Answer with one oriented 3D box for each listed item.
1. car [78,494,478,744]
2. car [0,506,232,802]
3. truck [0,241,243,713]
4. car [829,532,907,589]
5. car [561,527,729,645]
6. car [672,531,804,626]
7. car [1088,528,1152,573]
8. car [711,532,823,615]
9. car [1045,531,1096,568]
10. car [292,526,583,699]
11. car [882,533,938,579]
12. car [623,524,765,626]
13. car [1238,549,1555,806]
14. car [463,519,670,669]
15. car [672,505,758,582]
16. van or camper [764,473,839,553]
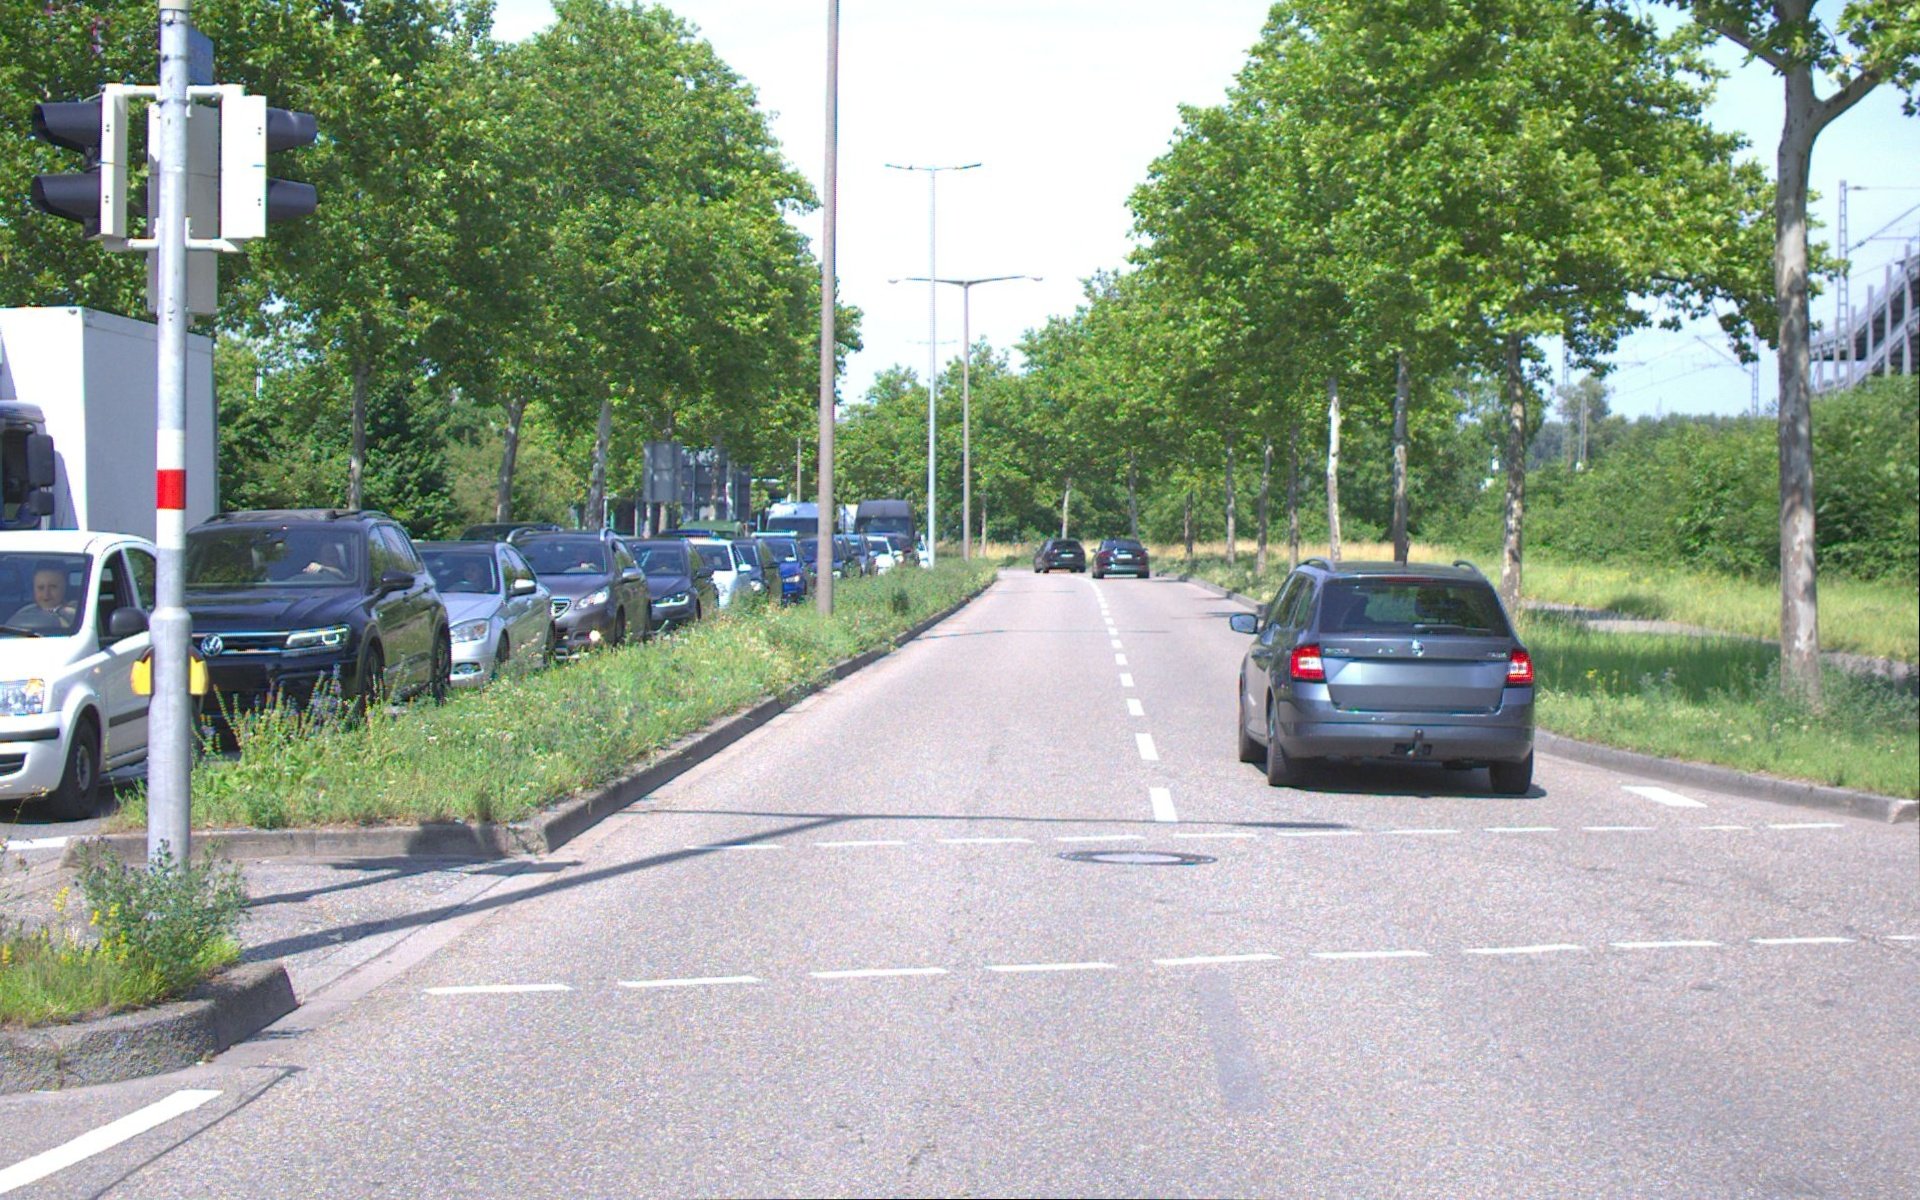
[{"bbox_3d":[-4.814,0.115,24.938,1.820,1.641,4.694,0,0,2],"label":"car"},{"bbox_3d":[-5.276,0.228,19.007,1.593,1.472,3.729,0,1,2],"label":"car"},{"bbox_3d":[-8.201,-0.974,28.643,2.804,3.459,6.691,-1,1,2],"label":"truck"},{"bbox_3d":[-2.427,-1.067,91.433,1.784,1.454,4.472,0,1,2],"label":"car"},{"bbox_3d":[-4.133,-0.220,45.685,1.689,1.468,4.218,-1,1,2],"label":"car"},{"bbox_3d":[-3.740,-0.400,58.604,1.758,1.525,4.828,0,1,2],"label":"car"},{"bbox_3d":[5.517,-1.729,119.131,1.908,1.458,4.622,1,1,-1],"label":"car"},{"bbox_3d":[-3.560,-0.514,63.909,1.784,1.484,4.211,0,1,1],"label":"car"},{"bbox_3d":[4.755,-2.209,148.501,1.908,1.458,4.583,1,2,-1],"label":"car"},{"bbox_3d":[-4.686,0.059,31.449,1.797,1.463,4.522,0,1,2],"label":"car"},{"bbox_3d":[-1.645,-1.450,114.516,1.689,1.525,3.814,0,0,2],"label":"car"},{"bbox_3d":[-3.922,-0.405,51.217,1.689,1.467,3.814,0,1,2],"label":"car"},{"bbox_3d":[2.798,0.438,22.797,1.674,1.448,4.036,3,1,2],"label":"car"},{"bbox_3d":[-4.331,-0.107,38.423,1.689,1.581,4.240,0,1,2],"label":"car"},{"bbox_3d":[-6.044,-1.396,85.145,1.689,1.852,4.036,0,1,2],"label":"car"},{"bbox_3d":[-5.151,-2.840,112.650,2.015,2.579,5.517,0,1,2],"label":"van or camper"}]
